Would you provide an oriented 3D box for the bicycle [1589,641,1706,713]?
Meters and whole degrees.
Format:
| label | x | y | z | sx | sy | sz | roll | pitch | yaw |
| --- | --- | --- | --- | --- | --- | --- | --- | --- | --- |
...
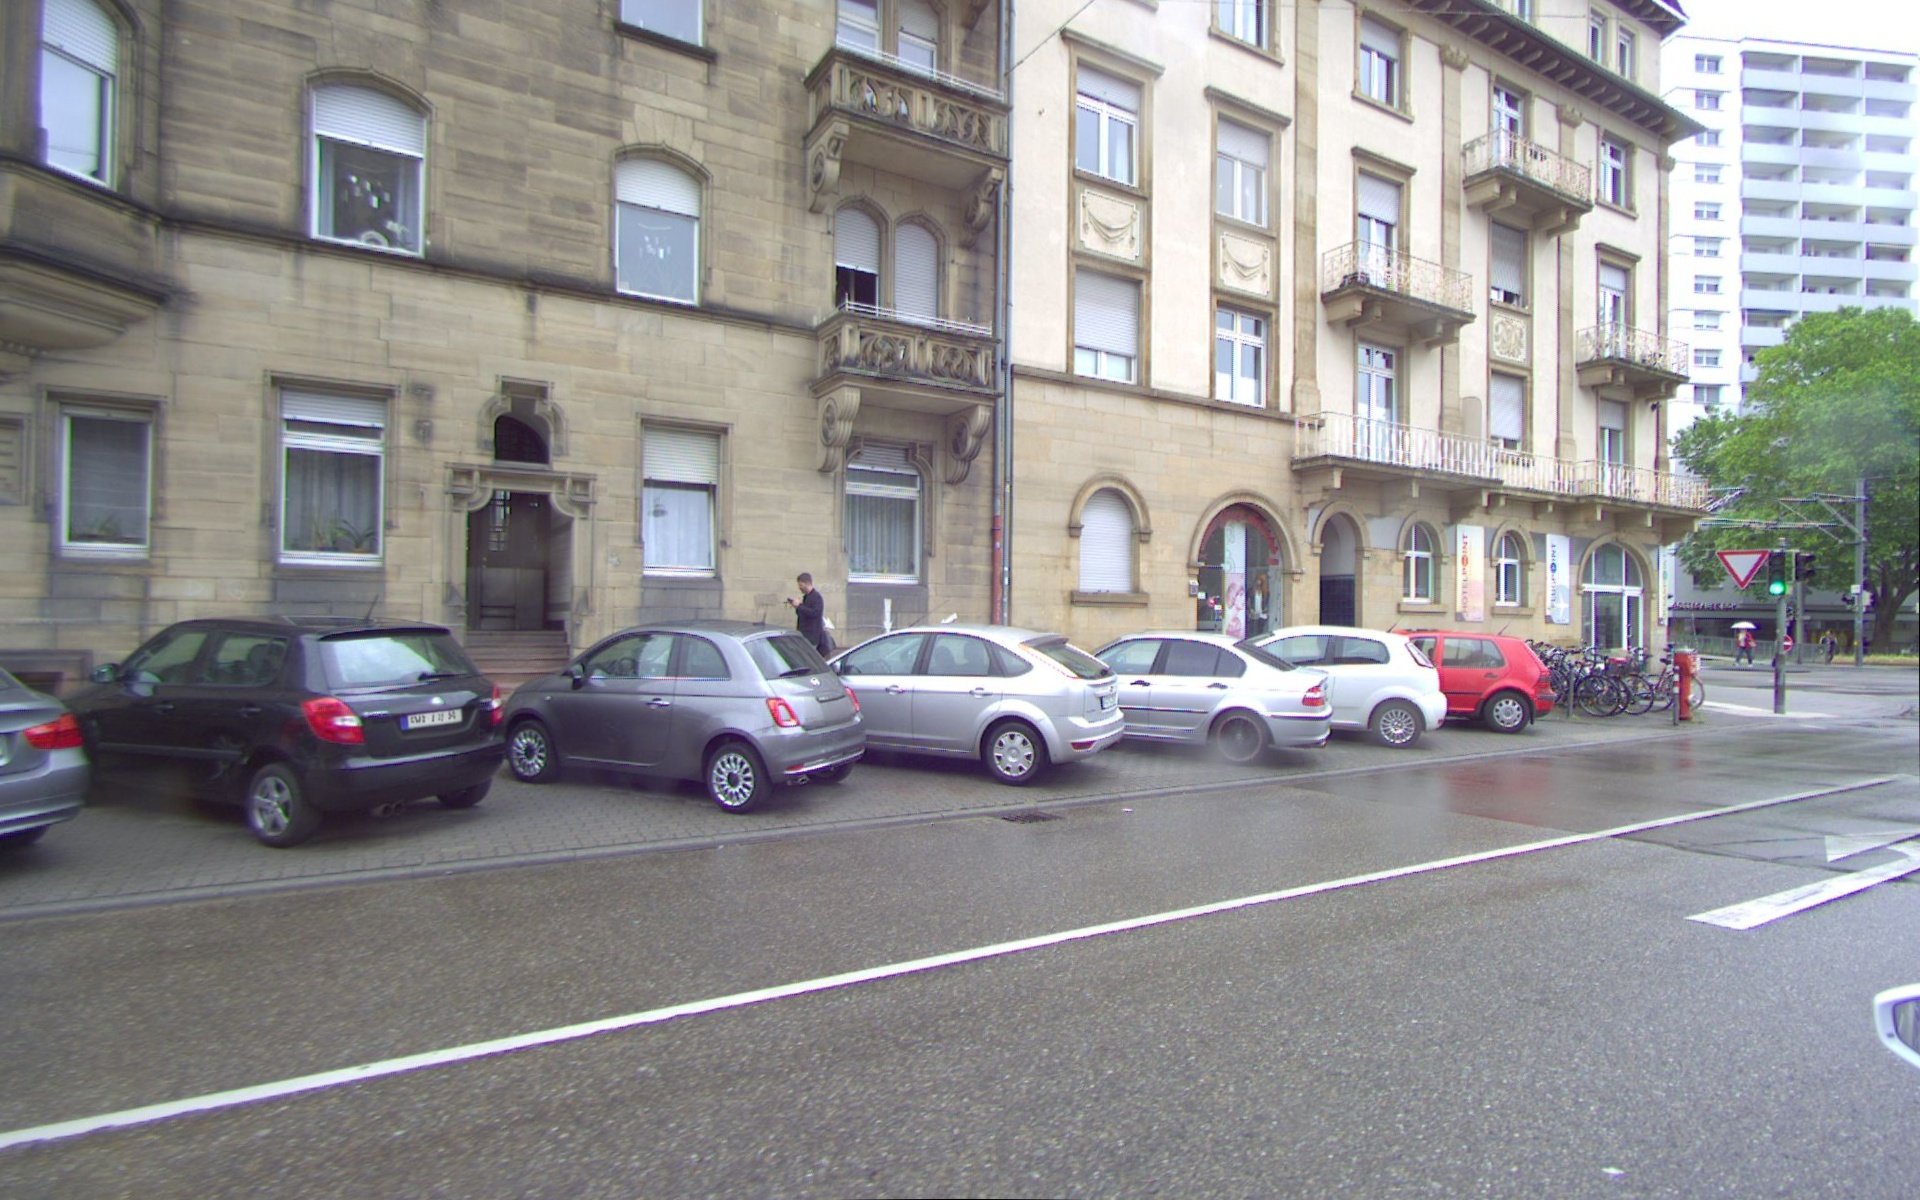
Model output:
| label | x | y | z | sx | sy | sz | roll | pitch | yaw |
| --- | --- | --- | --- | --- | --- | --- | --- | --- | --- |
| bicycle | 13.113 | 1.437 | 19.199 | 0.601 | 1.283 | 1.755 | 1 | -2 | -30 |

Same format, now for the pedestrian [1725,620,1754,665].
| label | x | y | z | sx | sy | sz | roll | pitch | yaw |
| --- | --- | --- | --- | --- | --- | --- | --- | --- | --- |
| pedestrian | 31.866 | 1.733 | 41.070 | 0.683 | 1.850 | 0.618 | 1 | -2 | -16 |

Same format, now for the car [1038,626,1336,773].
| label | x | y | z | sx | sy | sz | roll | pitch | yaw |
| --- | --- | --- | --- | --- | --- | --- | --- | --- | --- |
| car | 2.799 | 1.113 | 12.270 | 3.337 | 1.578 | 1.705 | 0 | -2 | 22 |

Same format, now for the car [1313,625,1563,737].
| label | x | y | z | sx | sy | sz | roll | pitch | yaw |
| --- | --- | --- | --- | --- | --- | --- | --- | --- | --- |
| car | 7.290 | 1.186 | 15.636 | 3.337 | 1.578 | 1.705 | 0 | -2 | 22 |

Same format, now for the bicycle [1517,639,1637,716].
| label | x | y | z | sx | sy | sz | roll | pitch | yaw |
| --- | --- | --- | --- | --- | --- | --- | --- | --- | --- |
| bicycle | 10.949 | 1.350 | 17.891 | 0.492 | 1.283 | 1.802 | 1 | -2 | -30 |

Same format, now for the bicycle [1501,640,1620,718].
| label | x | y | z | sx | sy | sz | roll | pitch | yaw |
| --- | --- | --- | --- | --- | --- | --- | --- | --- | --- |
| bicycle | 10.490 | 1.348 | 17.603 | 0.516 | 1.283 | 1.755 | 1 | -2 | -30 |

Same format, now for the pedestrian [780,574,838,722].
| label | x | y | z | sx | sy | sz | roll | pitch | yaw |
| --- | --- | --- | --- | --- | --- | --- | --- | --- | --- |
| pedestrian | -2.153 | 0.673 | 14.287 | 0.647 | 2.040 | 0.565 | 1 | -1 | -30 |

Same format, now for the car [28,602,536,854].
| label | x | y | z | sx | sy | sz | roll | pitch | yaw |
| --- | --- | --- | --- | --- | --- | --- | --- | --- | --- |
| car | -5.282 | 0.853 | 7.870 | 3.485 | 1.619 | 1.605 | 0 | -2 | 22 |

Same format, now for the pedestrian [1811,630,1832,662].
| label | x | y | z | sx | sy | sz | roll | pitch | yaw |
| --- | --- | --- | --- | --- | --- | --- | --- | --- | --- |
| pedestrian | 41.935 | 2.216 | 48.895 | 0.631 | 1.550 | 0.443 | 0 | -1 | -4 |

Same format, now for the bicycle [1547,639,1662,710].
| label | x | y | z | sx | sy | sz | roll | pitch | yaw |
| --- | --- | --- | --- | --- | --- | --- | --- | --- | --- |
| bicycle | 12.218 | 1.385 | 19.097 | 0.601 | 1.283 | 1.755 | 1 | -2 | -30 |

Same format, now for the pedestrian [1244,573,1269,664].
| label | x | y | z | sx | sy | sz | roll | pitch | yaw |
| --- | --- | --- | --- | --- | --- | --- | --- | --- | --- |
| pedestrian | 6.086 | 0.379 | 20.638 | 0.343 | 1.846 | 0.364 | 2 | -2 | -32 |

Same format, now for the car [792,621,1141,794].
| label | x | y | z | sx | sy | sz | roll | pitch | yaw |
| --- | --- | --- | --- | --- | --- | --- | --- | --- | --- |
| car | 0.102 | 1.030 | 10.691 | 3.337 | 1.578 | 1.705 | 0 | -2 | 22 |

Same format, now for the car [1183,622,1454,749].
| label | x | y | z | sx | sy | sz | roll | pitch | yaw |
| --- | --- | --- | --- | --- | --- | --- | --- | --- | --- |
| car | 4.916 | 1.100 | 13.924 | 3.337 | 1.578 | 1.705 | 0 | -2 | 22 |

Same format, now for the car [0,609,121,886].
| label | x | y | z | sx | sy | sz | roll | pitch | yaw |
| --- | --- | --- | --- | --- | --- | --- | --- | --- | --- |
| car | -7.617 | 0.838 | 6.129 | 4.458 | 1.565 | 1.689 | 0 | -2 | 18 |

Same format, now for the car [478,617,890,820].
| label | x | y | z | sx | sy | sz | roll | pitch | yaw |
| --- | --- | --- | --- | --- | --- | --- | --- | --- | --- |
| car | -2.505 | 0.958 | 9.239 | 3.337 | 1.578 | 1.652 | 0 | -2 | 22 |

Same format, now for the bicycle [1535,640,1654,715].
| label | x | y | z | sx | sy | sz | roll | pitch | yaw |
| --- | --- | --- | --- | --- | --- | --- | --- | --- | --- |
| bicycle | 11.473 | 1.371 | 18.223 | 0.492 | 1.283 | 1.802 | 1 | -2 | -30 |
